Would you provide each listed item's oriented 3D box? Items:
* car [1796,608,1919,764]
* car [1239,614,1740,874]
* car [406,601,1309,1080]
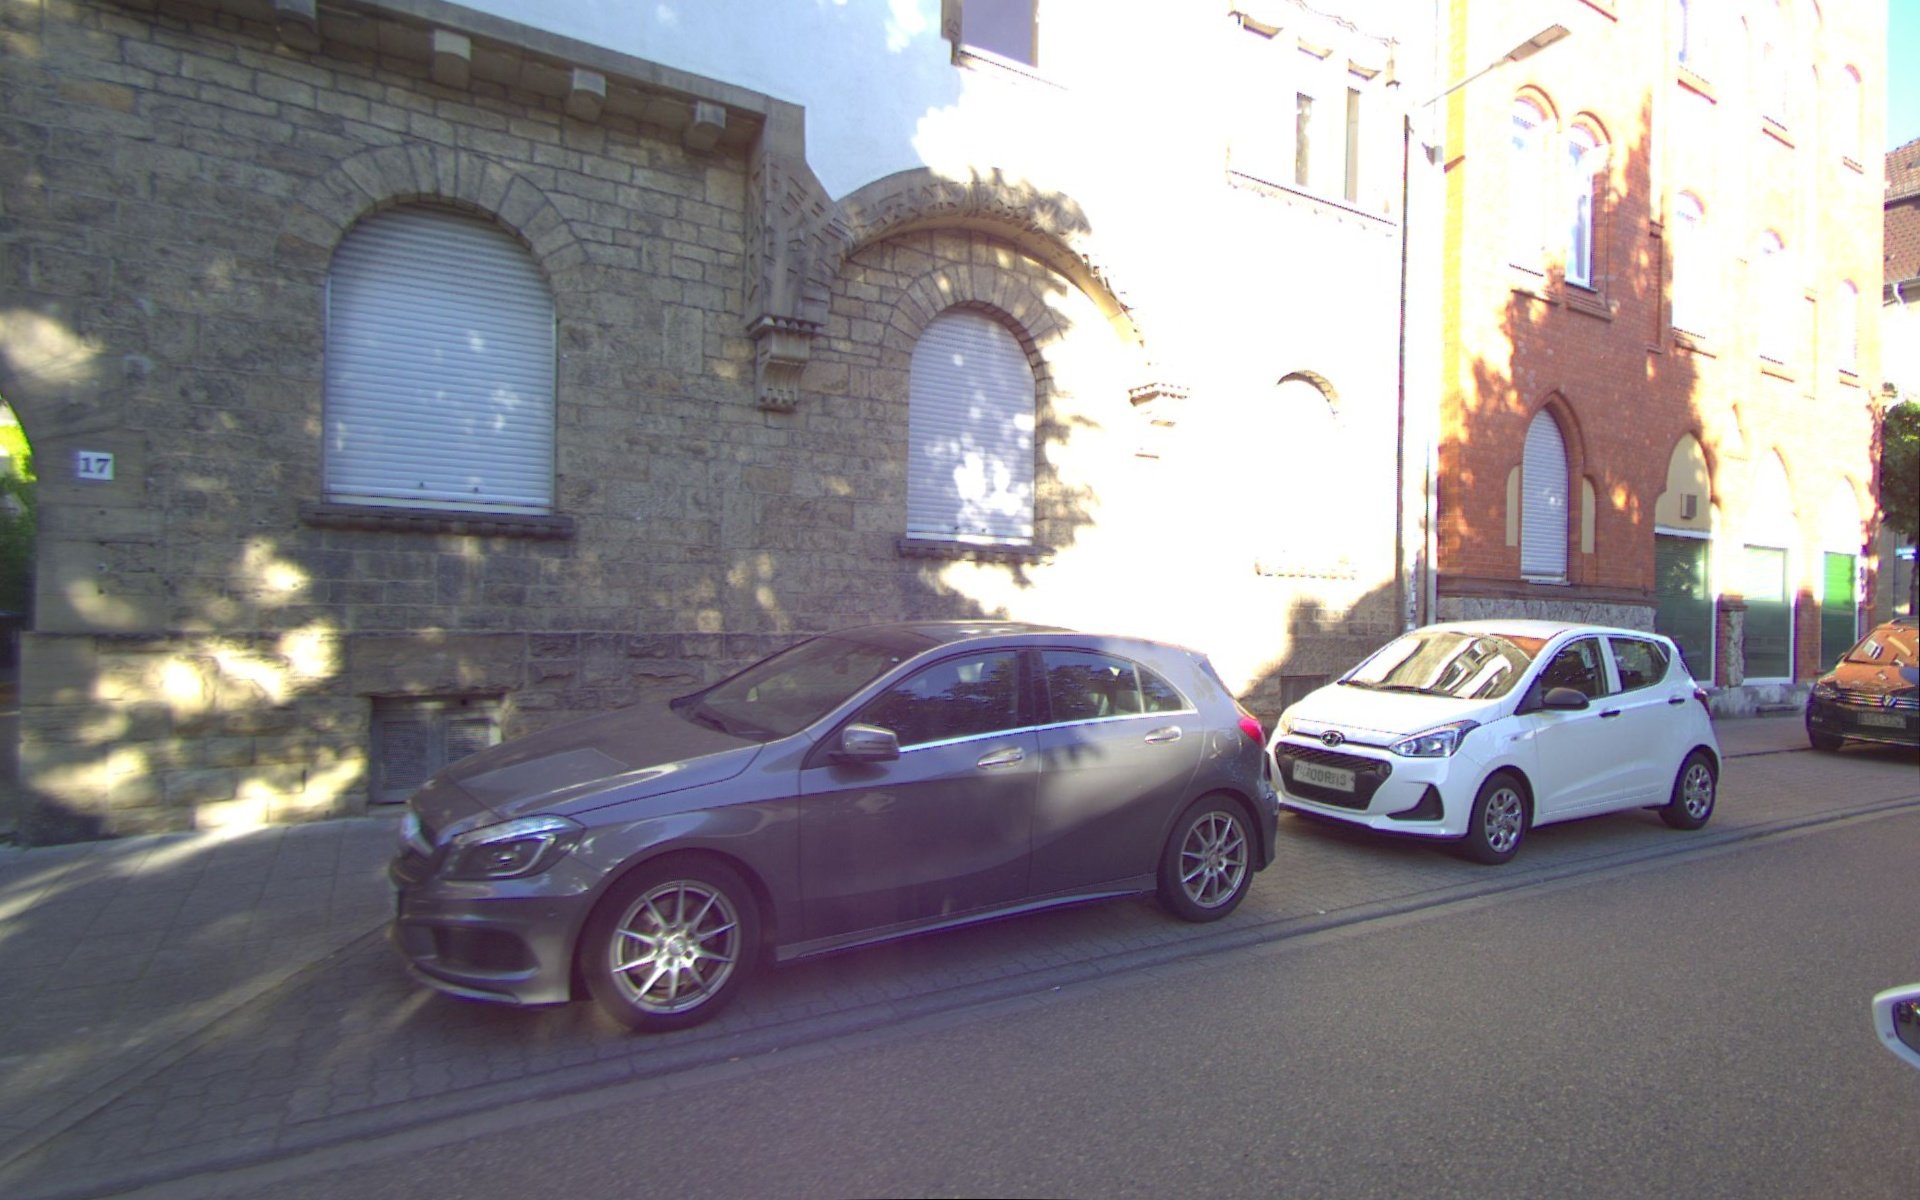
[{"bbox_3d":[12.263,1.016,12.441,4.302,1.703,1.660,2,0,-32],"label":"car"},{"bbox_3d":[3.948,0.883,7.415,3.546,1.490,1.560,1,0,-28],"label":"car"},{"bbox_3d":[-0.347,0.778,4.896,4.065,1.462,1.668,1,1,-31],"label":"car"}]
